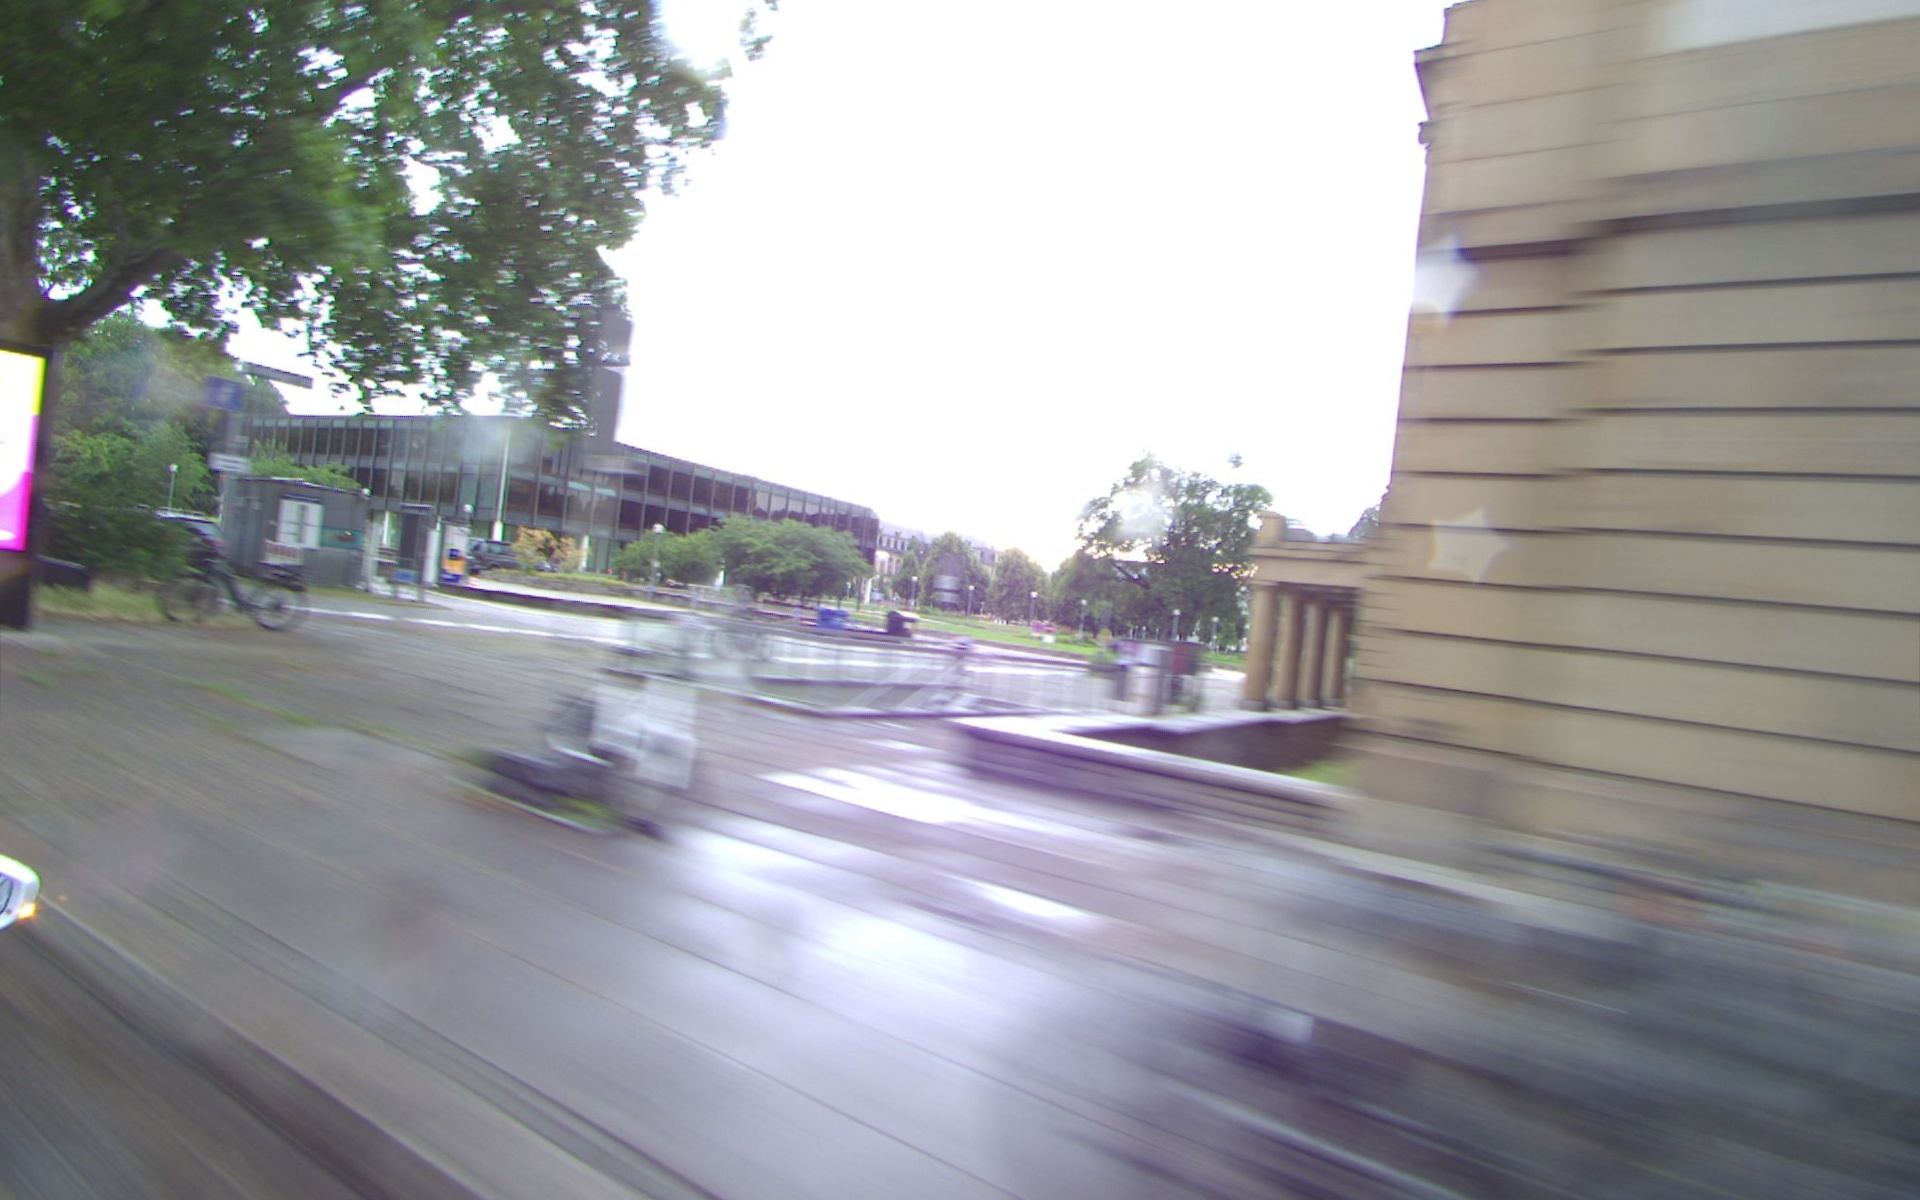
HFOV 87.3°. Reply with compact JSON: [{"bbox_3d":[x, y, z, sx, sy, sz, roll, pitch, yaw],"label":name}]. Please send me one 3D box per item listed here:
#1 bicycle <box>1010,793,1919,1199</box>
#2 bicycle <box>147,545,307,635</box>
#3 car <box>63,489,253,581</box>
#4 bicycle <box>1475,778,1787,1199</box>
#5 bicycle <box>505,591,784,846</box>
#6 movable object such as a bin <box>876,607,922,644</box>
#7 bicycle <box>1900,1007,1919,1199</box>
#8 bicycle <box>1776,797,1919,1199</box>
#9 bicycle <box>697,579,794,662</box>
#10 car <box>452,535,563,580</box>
[{"bbox_3d":[0.926,0.988,1.690,0.667,0.979,1.617,7,-1,-43],"label":"bicycle"},{"bbox_3d":[-10.313,-0.119,14.210,0.566,1.031,1.643,6,-3,36],"label":"bicycle"},{"bbox_3d":[-20.561,-1.674,25.729,5.147,1.629,1.997,8,0,31],"label":"car"},{"bbox_3d":[1.979,1.135,3.036,0.516,1.006,1.591,7,-1,33],"label":"bicycle"},{"bbox_3d":[-1.970,0.636,6.109,1.877,1.213,0.604,6,1,39],"label":"bicycle"},{"bbox_3d":[-2.672,1.136,44.192,1.230,1.476,1.489,6,1,34],"label":"movable object such as a bin"},{"bbox_3d":[2.681,1.051,2.029,0.640,1.352,2.193,7,-1,33],"label":"bicycle"},{"bbox_3d":[2.240,1.091,2.052,0.592,1.136,1.681,7,-1,33],"label":"bicycle"},{"bbox_3d":[-4.846,0.507,22.884,0.761,1.686,2.322,5,-2,25],"label":"bicycle"},{"bbox_3d":[-24.970,-2.317,55.678,2.419,1.785,5.016,7,-1,29],"label":"car"}]
